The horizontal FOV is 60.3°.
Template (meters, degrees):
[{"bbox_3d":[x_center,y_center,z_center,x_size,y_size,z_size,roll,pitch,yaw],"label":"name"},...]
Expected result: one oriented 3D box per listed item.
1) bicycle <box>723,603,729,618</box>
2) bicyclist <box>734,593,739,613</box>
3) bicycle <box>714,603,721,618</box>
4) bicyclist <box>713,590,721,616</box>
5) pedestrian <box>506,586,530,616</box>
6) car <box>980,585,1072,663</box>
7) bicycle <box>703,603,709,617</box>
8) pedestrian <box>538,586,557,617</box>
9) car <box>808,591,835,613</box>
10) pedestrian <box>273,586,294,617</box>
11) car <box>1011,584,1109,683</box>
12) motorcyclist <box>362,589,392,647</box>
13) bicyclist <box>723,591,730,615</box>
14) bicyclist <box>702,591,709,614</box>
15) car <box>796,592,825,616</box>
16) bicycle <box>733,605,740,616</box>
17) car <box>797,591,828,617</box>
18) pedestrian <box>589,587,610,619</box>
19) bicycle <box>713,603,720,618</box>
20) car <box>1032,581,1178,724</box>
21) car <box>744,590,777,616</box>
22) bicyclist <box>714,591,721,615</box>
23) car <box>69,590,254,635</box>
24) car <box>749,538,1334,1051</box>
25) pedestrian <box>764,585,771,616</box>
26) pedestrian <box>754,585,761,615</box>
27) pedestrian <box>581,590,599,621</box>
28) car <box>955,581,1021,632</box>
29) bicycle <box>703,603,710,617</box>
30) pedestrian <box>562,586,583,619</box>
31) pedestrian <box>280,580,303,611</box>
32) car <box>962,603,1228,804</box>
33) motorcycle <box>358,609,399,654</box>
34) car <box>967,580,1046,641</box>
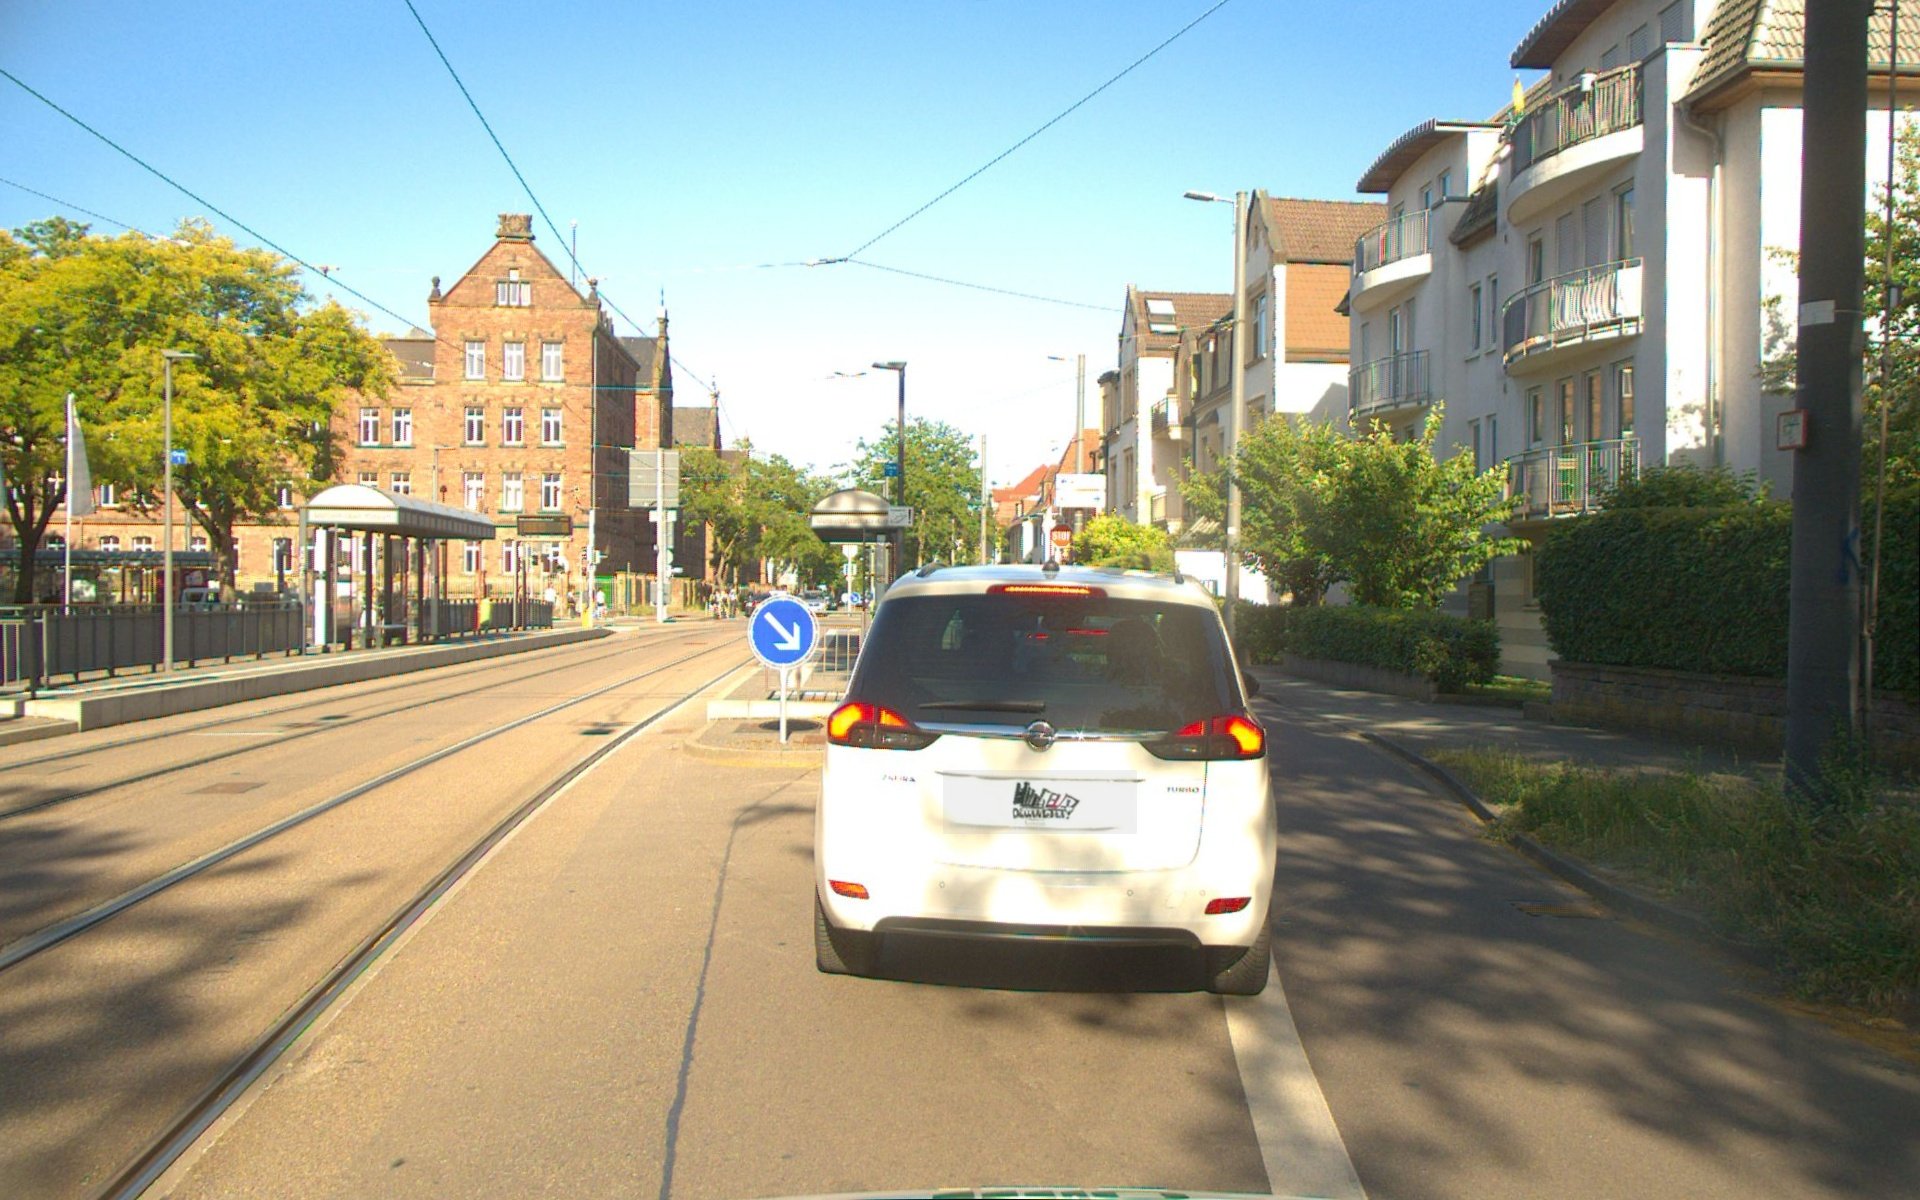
[{"bbox_3d":[-15.393,0.679,108.912,0.337,0.966,0.996,1,0,-4],"label":"bicycle"},{"bbox_3d":[-15.059,0.206,111.418,0.352,1.326,0.397,0,0,-4],"label":"bicyclist"},{"bbox_3d":[-15.611,0.665,106.360,0.337,0.966,0.996,1,0,-4],"label":"bicycle"},{"bbox_3d":[-15.153,0.182,103.043,0.435,1.580,0.742,0,0,-4],"label":"bicyclist"},{"bbox_3d":[-23.605,0.062,88.328,0.791,1.616,0.929,0,-1,43],"label":"pedestrian"},{"bbox_3d":[1.380,0.495,36.186,1.793,1.607,4.009,0,0,-1],"label":"car"},{"bbox_3d":[-17.654,0.666,114.853,0.337,0.966,0.996,1,0,-4],"label":"bicycle"},{"bbox_3d":[-22.042,0.089,88.485,0.786,1.616,0.934,1,0,-3],"label":"pedestrian"},{"bbox_3d":[-10.941,0.148,130.478,1.953,1.657,3.998,0,0,-3],"label":"car"},{"bbox_3d":[-35.741,0.066,87.384,0.916,1.616,0.802,1,0,-14],"label":"pedestrian"},{"bbox_3d":[1.714,0.553,29.266,1.603,1.629,3.855,0,0,1],"label":"car"},{"bbox_3d":[-16.677,0.500,47.350,0.601,1.650,0.844,0,0,-5],"label":"motorcyclist"},{"bbox_3d":[-15.383,0.204,108.906,0.435,1.580,0.495,0,0,-4],"label":"bicyclist"},{"bbox_3d":[-17.648,0.190,114.817,0.435,1.580,0.495,0,0,-4],"label":"bicyclist"},{"bbox_3d":[-10.350,0.267,114.248,1.955,1.657,3.996,0,0,-5],"label":"car"},{"bbox_3d":[-15.061,0.679,111.421,0.337,0.737,0.996,1,0,-4],"label":"bicycle"},{"bbox_3d":[-9.546,0.251,107.154,1.955,1.657,3.996,0,0,-5],"label":"car"},{"bbox_3d":[-19.311,0.159,88.658,0.877,1.713,1.029,1,0,-1],"label":"pedestrian"},{"bbox_3d":[-15.162,0.658,102.834,0.337,0.966,1.159,1,0,-4],"label":"bicycle"},{"bbox_3d":[1.741,0.588,20.838,1.603,1.629,3.855,0,0,1],"label":"car"},{"bbox_3d":[-12.856,0.201,106.881,1.955,1.657,3.996,0,0,-5],"label":"car"},{"bbox_3d":[-15.574,0.190,106.318,0.435,1.580,0.495,0,0,-4],"label":"bicyclist"},{"bbox_3d":[-35.725,0.534,74.185,6.810,1.954,2.991,0,0,-2],"label":"car"},{"bbox_3d":[0.457,0.650,7.592,1.951,1.673,3.996,1,0,6],"label":"car"},{"bbox_3d":[-13.040,0.024,112.050,0.435,2.049,0.495,0,0,-4],"label":"pedestrian"},{"bbox_3d":[-13.646,0.012,111.710,0.435,2.049,0.495,0,0,-4],"label":"pedestrian"},{"bbox_3d":[-21.267,0.324,95.113,0.719,1.744,0.706,1,-1,22],"label":"pedestrian"},{"bbox_3d":[0.830,0.195,51.762,1.953,1.529,3.999,0,0,-1],"label":"car"},{"bbox_3d":[-17.316,0.664,113.029,0.337,0.966,0.996,1,0,-4],"label":"bicycle"},{"bbox_3d":[-20.675,0.141,88.224,0.825,1.721,1.029,1,0,-1],"label":"pedestrian"},{"bbox_3d":[-35.483,-0.233,87.797,0.913,1.616,0.804,0,0,-5],"label":"pedestrian"},{"bbox_3d":[1.031,0.750,13.979,1.912,1.422,4.001,0,0,1],"label":"car"},{"bbox_3d":[-16.689,0.891,47.495,0.599,1.219,2.073,0,0,-5],"label":"motorcycle"},{"bbox_3d":[1.200,0.261,44.307,1.953,1.529,3.999,0,0,-1],"label":"car"}]
